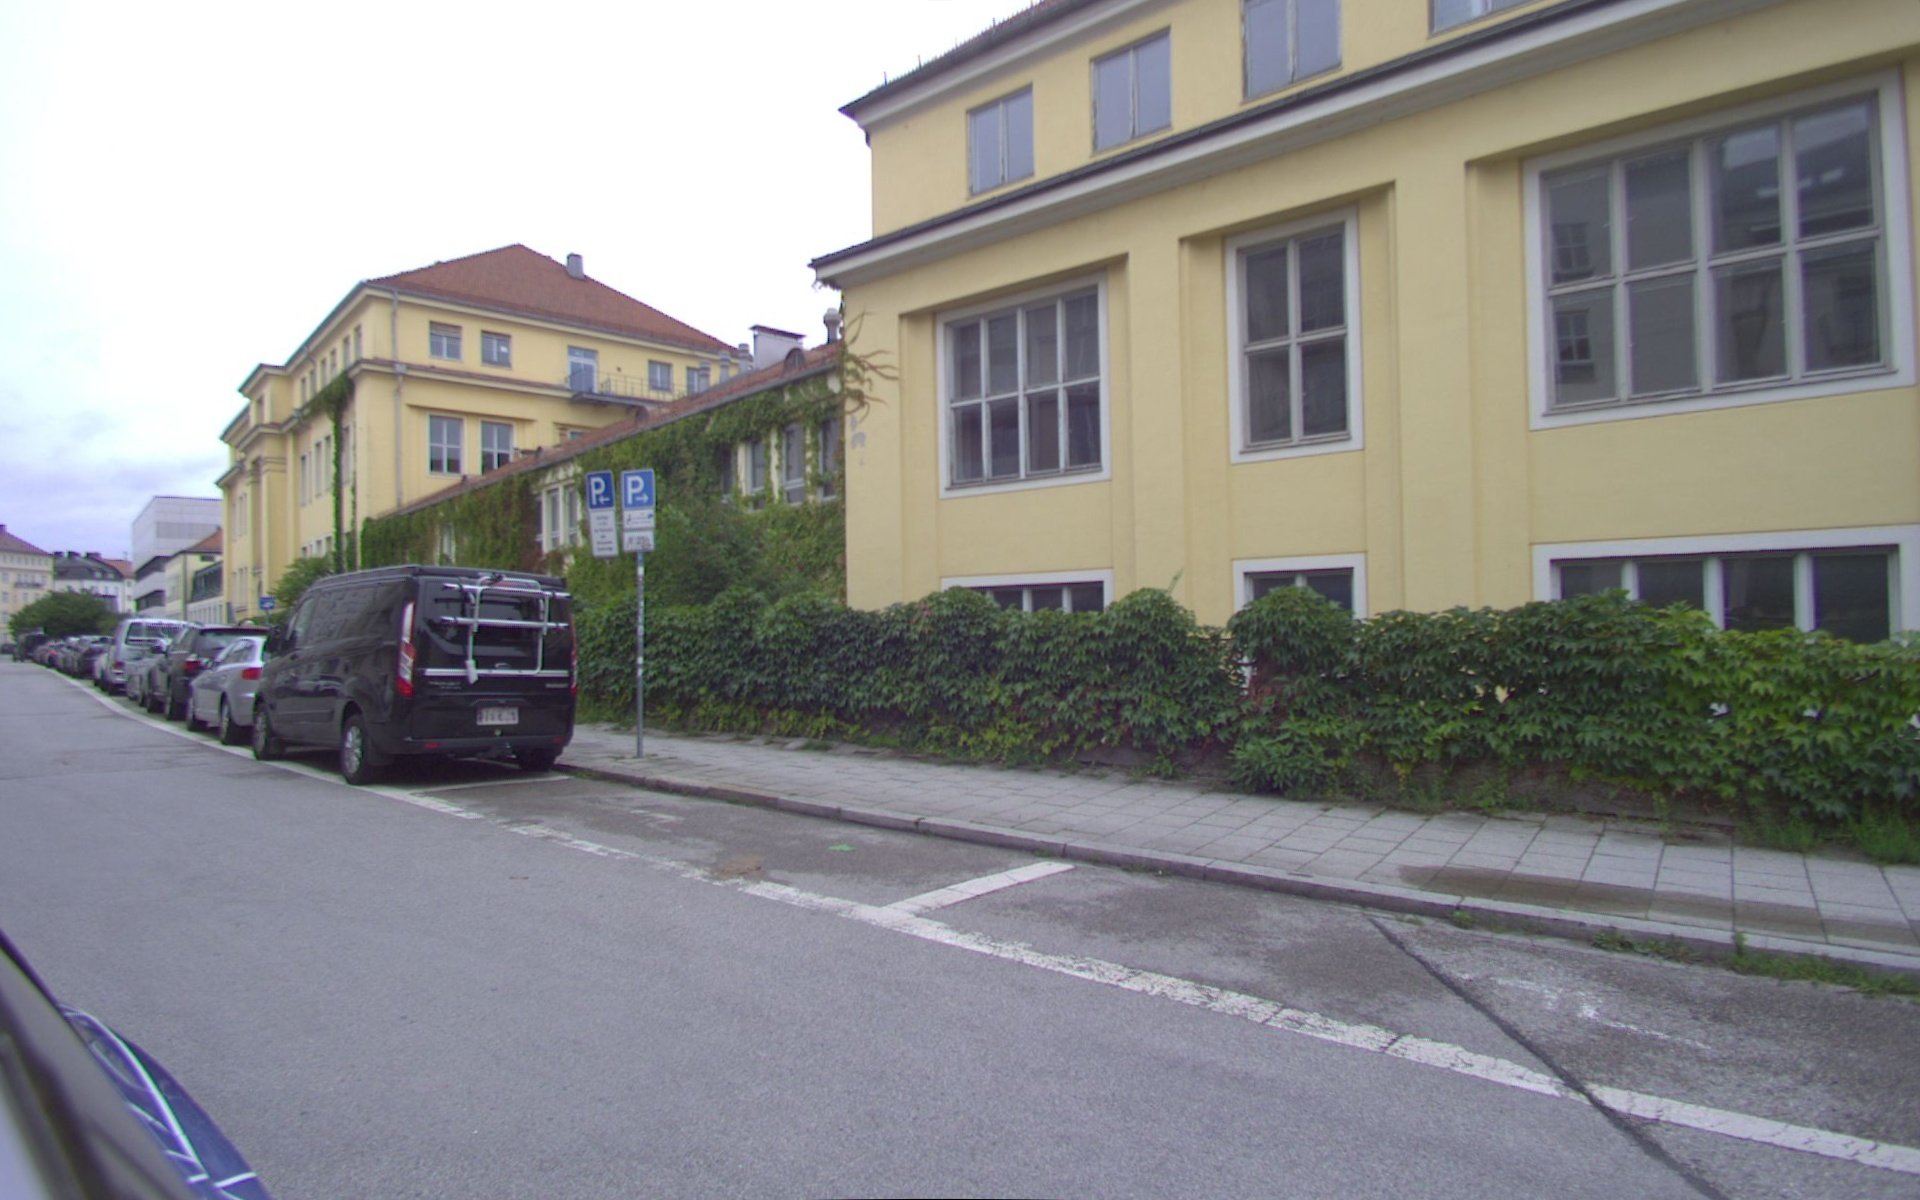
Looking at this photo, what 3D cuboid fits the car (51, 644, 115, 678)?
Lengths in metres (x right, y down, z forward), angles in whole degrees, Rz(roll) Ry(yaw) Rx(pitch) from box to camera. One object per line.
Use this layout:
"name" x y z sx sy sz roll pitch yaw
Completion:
"car" -39.155 2.717 45.148 4.603 1.419 1.753 -3 -7 45

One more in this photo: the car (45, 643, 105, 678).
"car" -43.946 2.997 50.231 4.301 1.653 1.761 -3 -6 44

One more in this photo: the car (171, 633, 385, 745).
"car" -9.834 1.241 14.482 4.003 1.376 1.687 -3 -7 44

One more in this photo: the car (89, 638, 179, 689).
"car" -24.268 1.862 29.683 1.647 1.420 3.561 5 -6 -44

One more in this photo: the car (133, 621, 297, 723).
"car" -13.573 1.277 18.334 1.682 1.619 4.493 5 -6 -44

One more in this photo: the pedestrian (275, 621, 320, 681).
"pedestrian" -17.111 1.315 26.136 0.833 1.506 0.873 1 -3 -42

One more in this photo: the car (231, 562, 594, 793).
"car" -6.081 0.809 11.000 4.620 1.994 1.905 -3 -5 41

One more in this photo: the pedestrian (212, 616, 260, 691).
"pedestrian" -17.518 1.273 24.487 0.833 1.768 0.873 1 -3 -43

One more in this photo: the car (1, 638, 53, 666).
"car" -90.021 4.995 97.594 6.888 2.571 2.810 -3 -3 40

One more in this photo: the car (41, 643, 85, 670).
"car" -51.328 3.230 57.898 1.713 1.450 3.783 5 -6 -43

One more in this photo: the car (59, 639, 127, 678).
"car" -35.012 2.361 40.818 1.748 1.514 4.276 5 -5 -44

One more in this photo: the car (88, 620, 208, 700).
"car" -20.935 1.554 26.013 1.871 1.812 4.885 7 -7 -43

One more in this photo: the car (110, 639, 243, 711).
"car" -17.253 1.605 22.201 1.782 1.388 4.495 7 -7 -43

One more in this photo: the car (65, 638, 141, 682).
"car" -31.427 2.204 37.061 1.697 1.492 4.222 7 -7 -44

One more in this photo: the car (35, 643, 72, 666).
"car" -64.009 3.836 71.410 1.748 1.567 4.213 5 -5 -43
